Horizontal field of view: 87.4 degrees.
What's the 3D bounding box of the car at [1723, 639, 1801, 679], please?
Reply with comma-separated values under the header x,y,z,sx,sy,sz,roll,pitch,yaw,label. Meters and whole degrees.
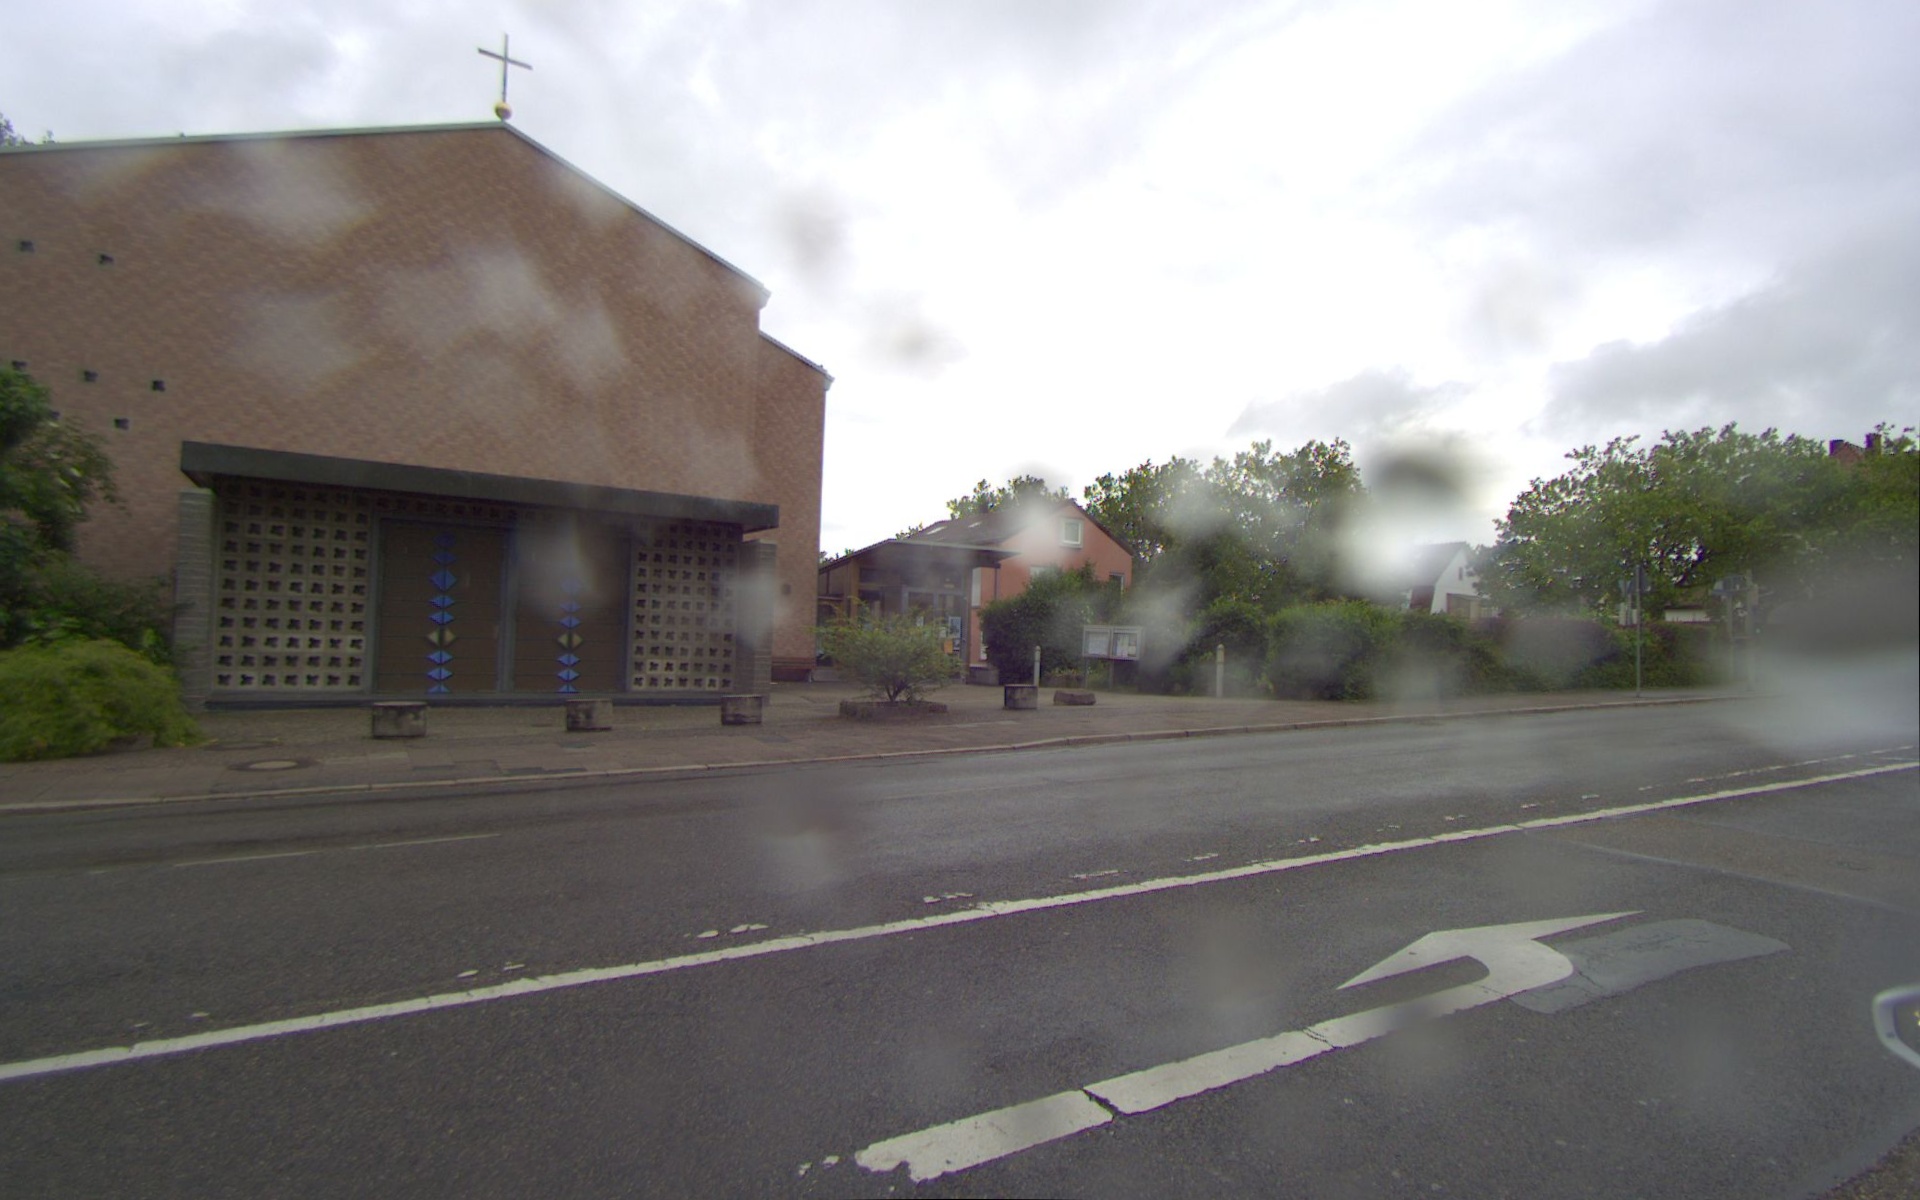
x,y,z,sx,sy,sz,roll,pitch,yaw,label
39.156,2.846,49.028,3.955,1.573,1.798,-2,2,-32,car
